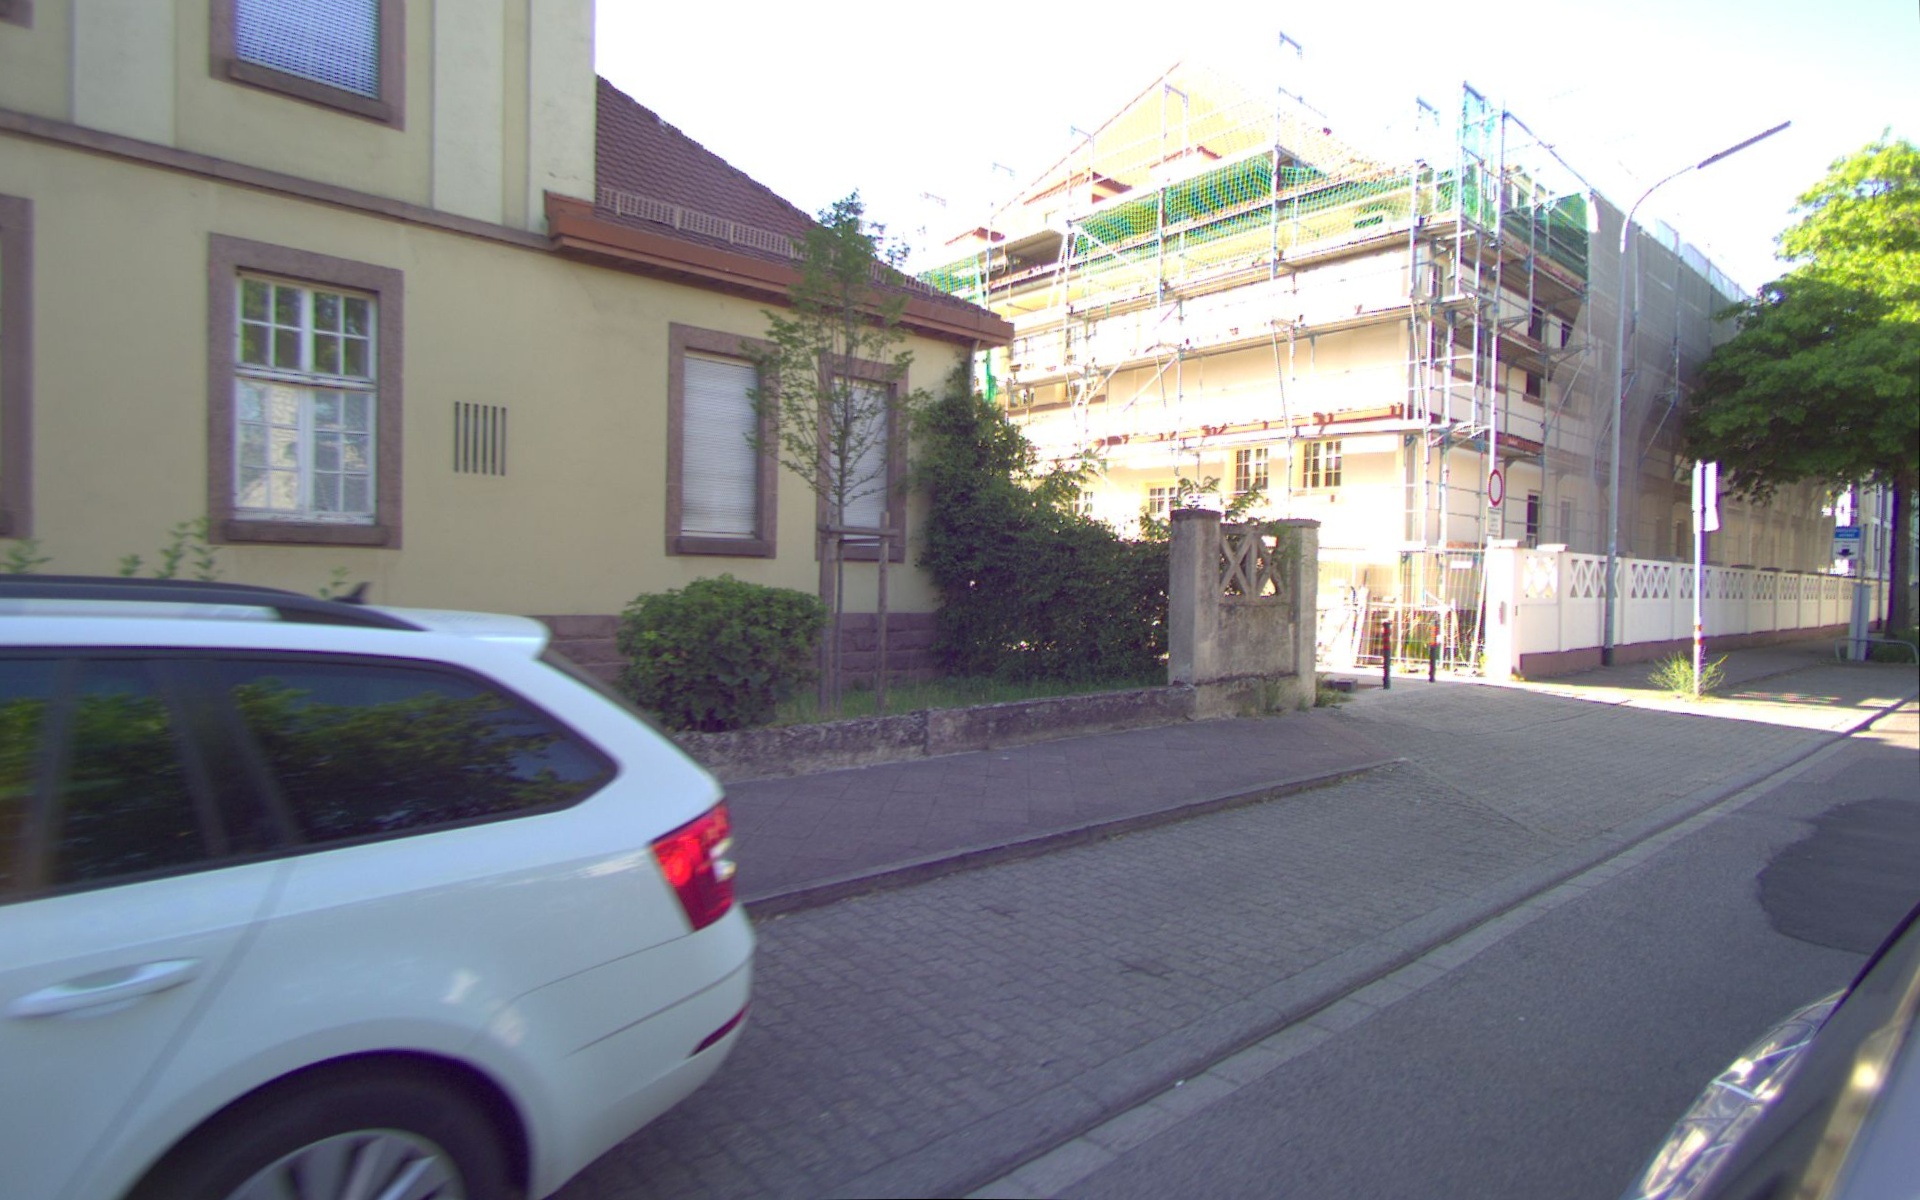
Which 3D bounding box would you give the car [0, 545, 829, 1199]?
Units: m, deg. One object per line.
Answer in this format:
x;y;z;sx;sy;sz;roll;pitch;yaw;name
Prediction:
-2.564;0.565;1.605;4.419;1.339;1.836;-1;3;-42;car

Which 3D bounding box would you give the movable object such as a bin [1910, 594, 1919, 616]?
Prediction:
45.856;0.253;48.329;0.553;1.040;0.599;0;0;-37;movable object such as a bin
